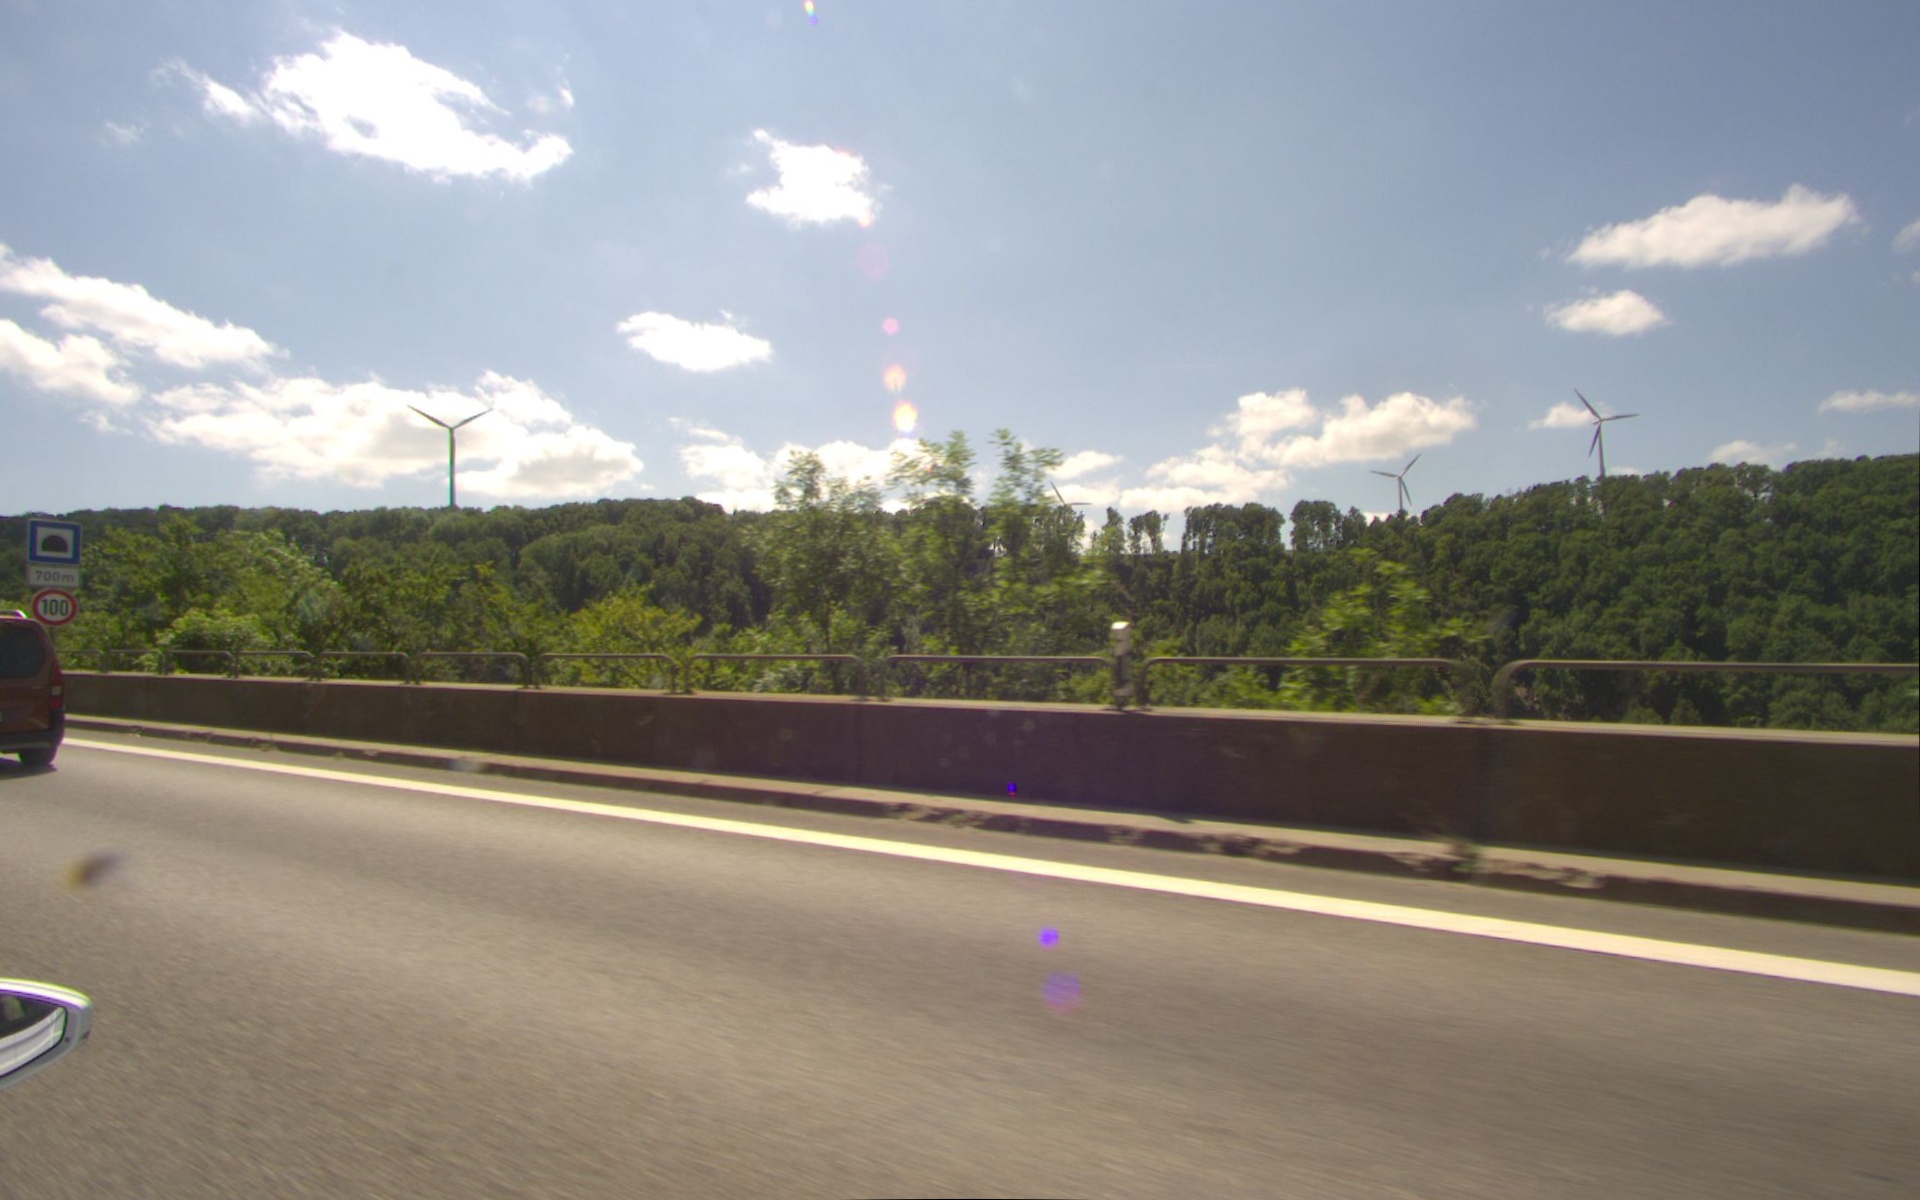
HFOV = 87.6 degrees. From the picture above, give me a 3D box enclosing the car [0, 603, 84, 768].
[{"bbox_3d":[-12.601,1.005,12.051,4.609,1.807,1.830,-2,-1,32],"label":"car"}]
